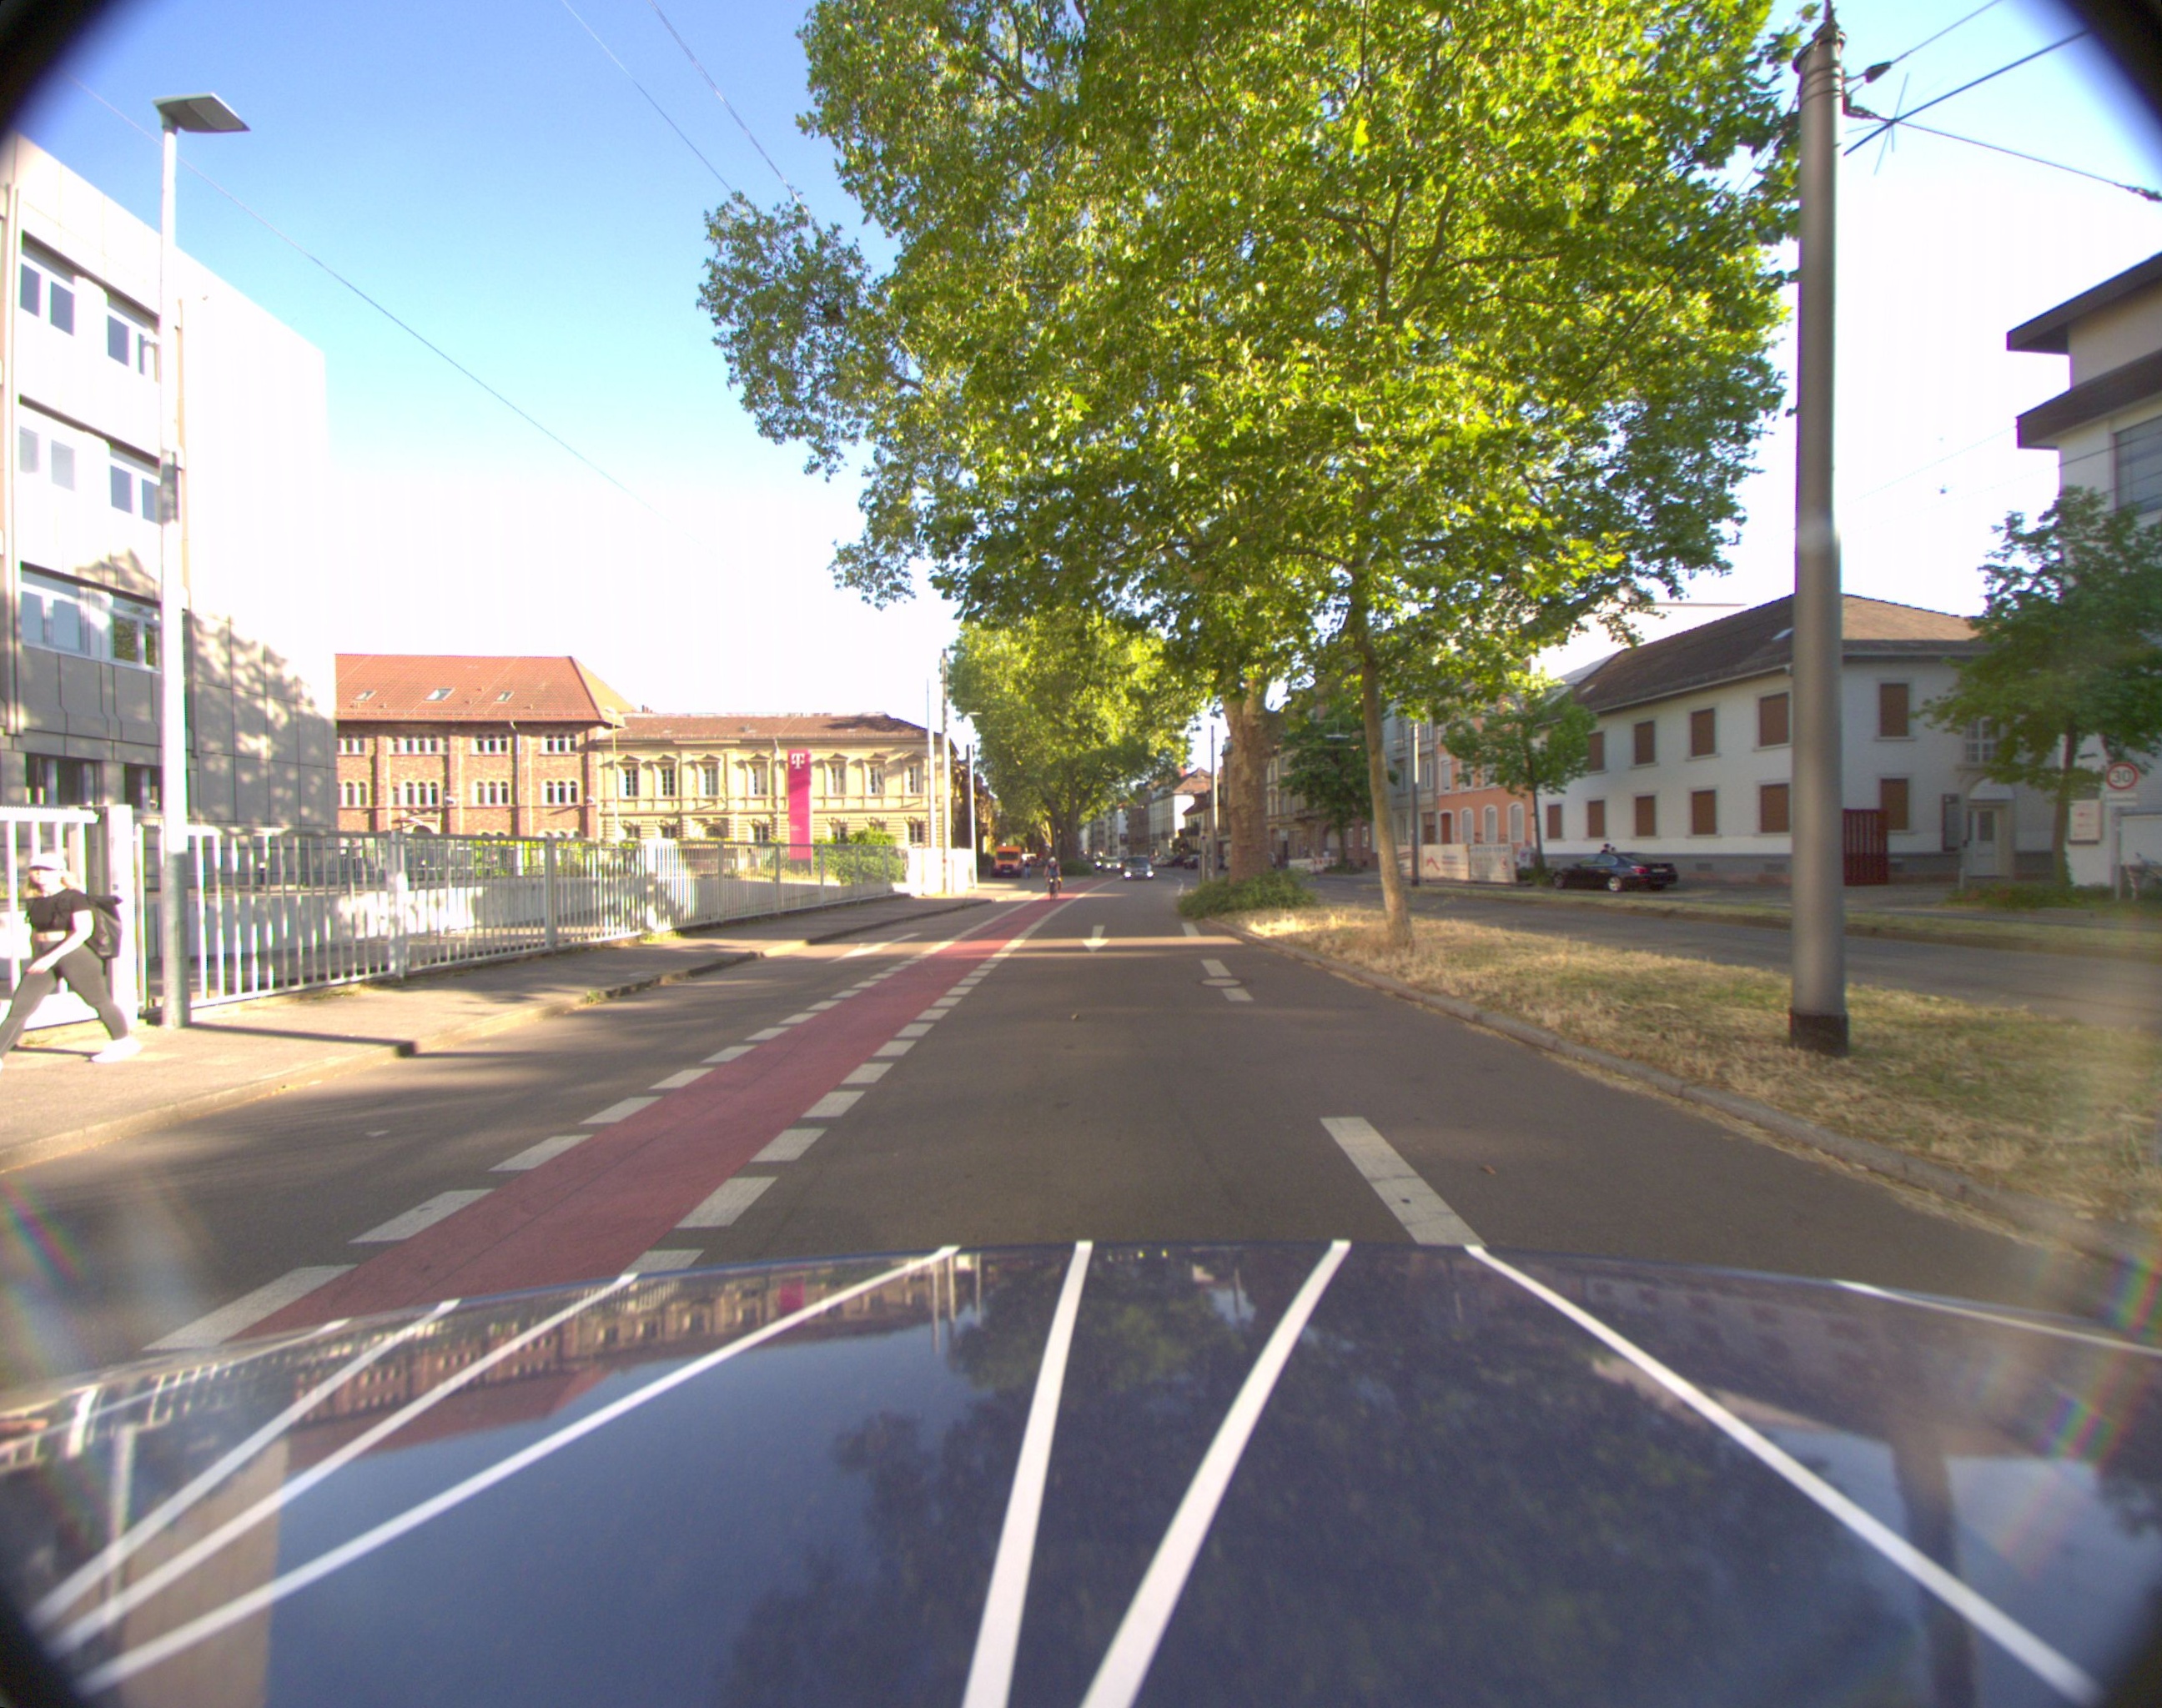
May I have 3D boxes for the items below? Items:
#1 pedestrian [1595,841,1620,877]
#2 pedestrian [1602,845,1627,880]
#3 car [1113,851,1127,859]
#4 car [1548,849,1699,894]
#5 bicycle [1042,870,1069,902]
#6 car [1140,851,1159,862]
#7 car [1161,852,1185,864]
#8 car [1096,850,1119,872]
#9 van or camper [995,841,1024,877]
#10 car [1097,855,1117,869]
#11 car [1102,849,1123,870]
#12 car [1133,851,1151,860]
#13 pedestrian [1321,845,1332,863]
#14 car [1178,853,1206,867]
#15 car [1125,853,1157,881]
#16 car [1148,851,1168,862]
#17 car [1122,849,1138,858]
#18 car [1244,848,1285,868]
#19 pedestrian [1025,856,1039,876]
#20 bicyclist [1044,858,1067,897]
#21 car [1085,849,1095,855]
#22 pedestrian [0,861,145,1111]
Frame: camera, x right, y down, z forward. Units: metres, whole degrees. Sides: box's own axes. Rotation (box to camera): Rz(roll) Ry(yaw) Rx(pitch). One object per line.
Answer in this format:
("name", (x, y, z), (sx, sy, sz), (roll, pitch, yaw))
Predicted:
("pedestrian", (22.609, 0.225, 32.650), (0.537, 1.519, 0.711), (-1, 1, -11))
("pedestrian", (23.465, 0.352, 33.419), (0.537, 1.519, 0.711), (-1, 1, -5))
("car", (7.958, 0.258, 156.228), (2.088, 1.531, 4.117), (-4, 1, -7))
("car", (20.532, 0.621, 29.047), (2.088, 1.462, 4.576), (-4, 1, -7))
("bicycle", (-0.961, 1.200, 29.203), (0.764, 1.137, 2.307), (-1, 0, 5))
("car", (10.819, 0.345, 120.792), (2.088, 1.531, 4.095), (-4, 1, -7))
("car", (12.765, 0.486, 105.992), (2.088, 1.531, 5.101), (-4, 1, -7))
("car", (2.517, 0.644, 72.314), (1.998, 2.002, 4.000), (-2, 1, 2))
("van or camper", (-5.442, 0.362, 58.701), (1.999, 2.578, 5.623), (-2, 1, -4))
("car", (2.751, 0.852, 80.951), (1.998, 1.376, 4.000), (-2, 1, 2))
("car", (3.152, 0.536, 76.946), (1.998, 2.002, 4.020), (-1, 0, 1))
("car", (10.490, 0.265, 130.701), (2.088, 1.531, 4.253), (-4, 1, -7))
("pedestrian", (20.758, 0.021, 64.335), (0.642, 1.519, 0.614), (-1, 1, -15))
("car", (13.541, 0.703, 92.917), (2.088, 1.531, 4.513), (-4, 1, -7))
("car", (3.966, 0.829, 50.761), (1.908, 1.634, 4.517), (-3, 1, 2))
("car", (11.614, 0.381, 114.871), (2.088, 1.531, 4.036), (-4, 1, -7))
("car", (9.021, -0.026, 140.912), (2.088, 1.531, 4.006), (-4, 1, -7))
("car", (16.893, 0.371, 70.191), (2.088, 1.664, 4.530), (-4, 1, -7))
("pedestrian", (-3.618, 0.884, 55.924), (0.898, 1.464, 0.810), (-1, 1, 4))
("bicyclist", (-0.982, 0.886, 29.019), (0.727, 1.414, 0.859), (-2, 1, 5))
("car", (2.551, -0.675, 218.650), (2.088, 1.531, 4.124), (-4, 1, -7))
("pedestrian", (-7.865, 0.941, 5.735), (0.592, 1.752, 0.770), (-1, 1, 1))
